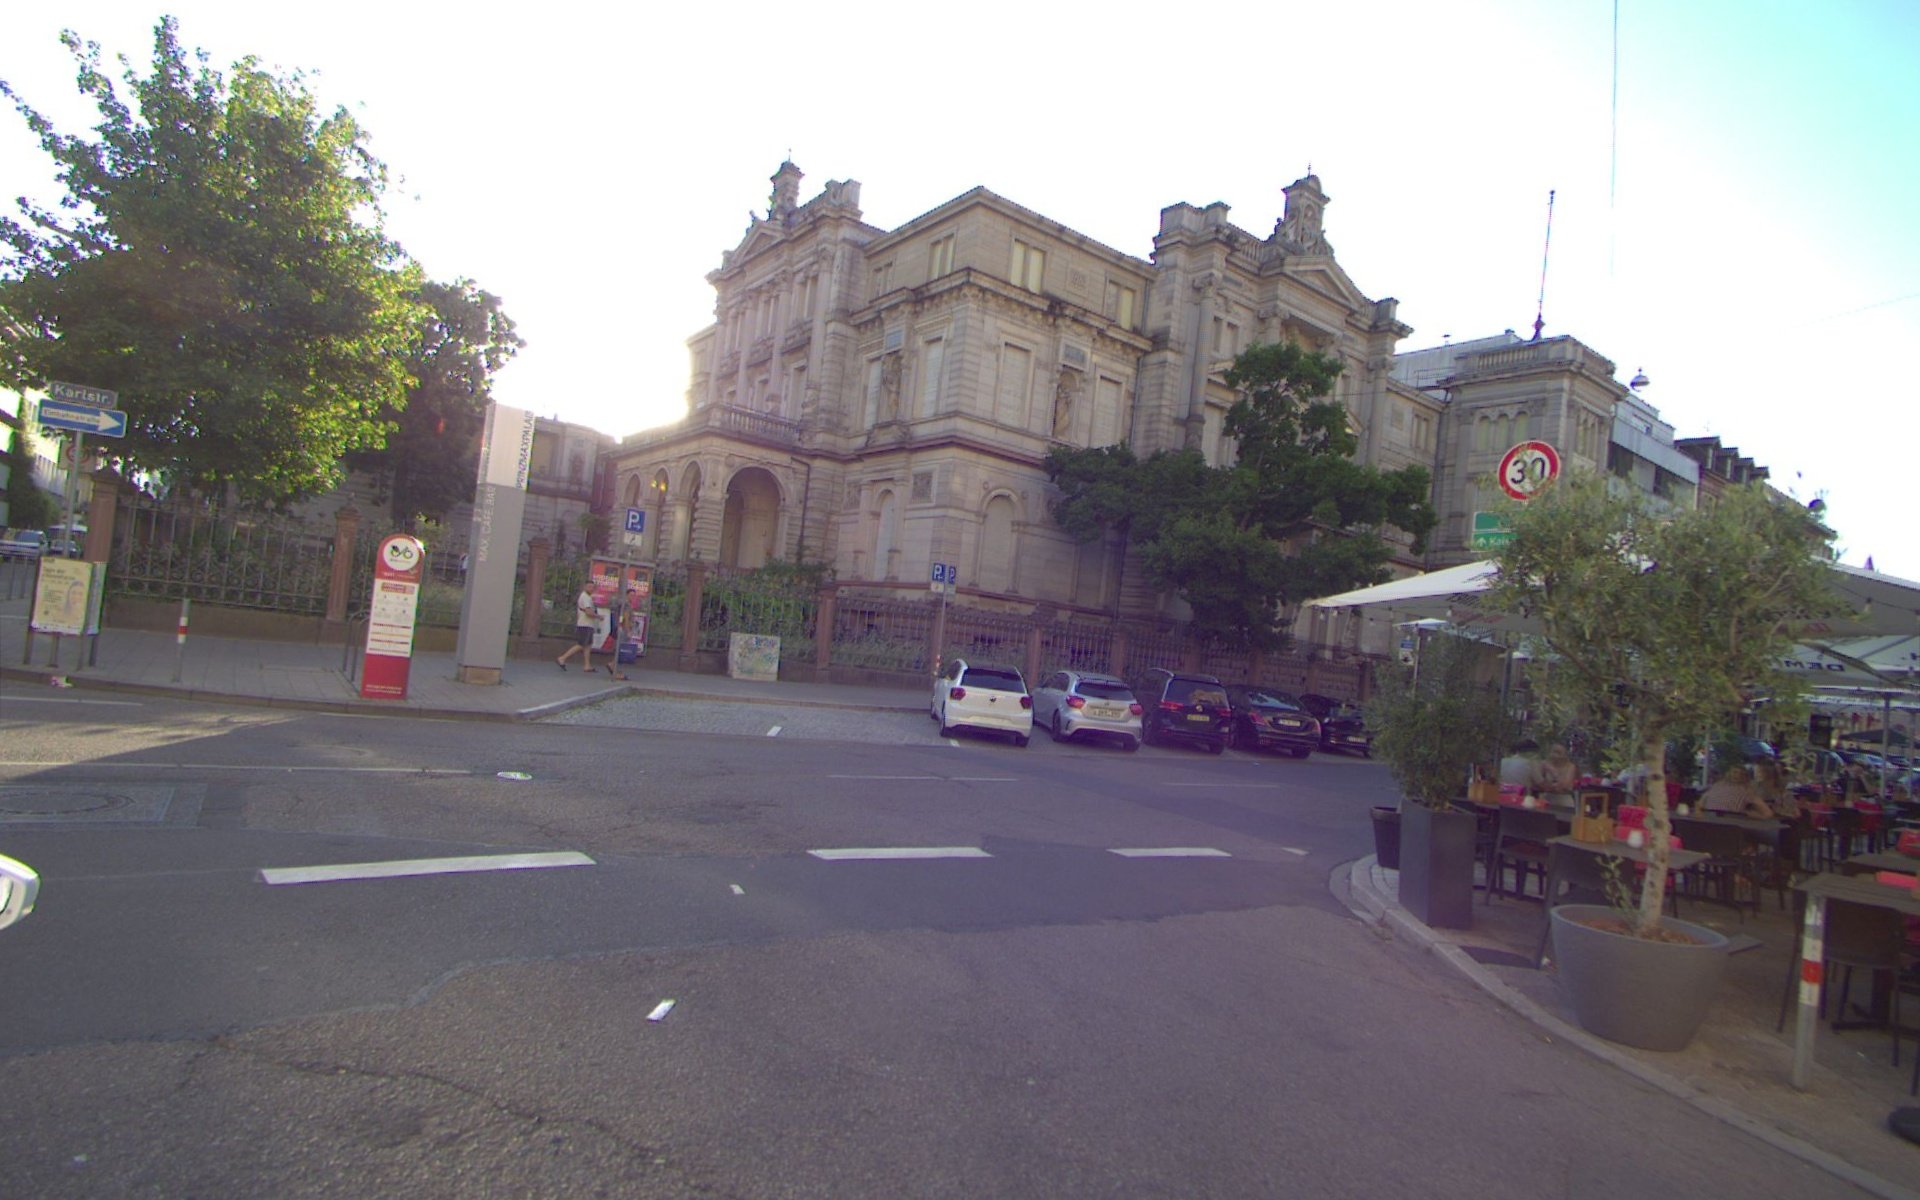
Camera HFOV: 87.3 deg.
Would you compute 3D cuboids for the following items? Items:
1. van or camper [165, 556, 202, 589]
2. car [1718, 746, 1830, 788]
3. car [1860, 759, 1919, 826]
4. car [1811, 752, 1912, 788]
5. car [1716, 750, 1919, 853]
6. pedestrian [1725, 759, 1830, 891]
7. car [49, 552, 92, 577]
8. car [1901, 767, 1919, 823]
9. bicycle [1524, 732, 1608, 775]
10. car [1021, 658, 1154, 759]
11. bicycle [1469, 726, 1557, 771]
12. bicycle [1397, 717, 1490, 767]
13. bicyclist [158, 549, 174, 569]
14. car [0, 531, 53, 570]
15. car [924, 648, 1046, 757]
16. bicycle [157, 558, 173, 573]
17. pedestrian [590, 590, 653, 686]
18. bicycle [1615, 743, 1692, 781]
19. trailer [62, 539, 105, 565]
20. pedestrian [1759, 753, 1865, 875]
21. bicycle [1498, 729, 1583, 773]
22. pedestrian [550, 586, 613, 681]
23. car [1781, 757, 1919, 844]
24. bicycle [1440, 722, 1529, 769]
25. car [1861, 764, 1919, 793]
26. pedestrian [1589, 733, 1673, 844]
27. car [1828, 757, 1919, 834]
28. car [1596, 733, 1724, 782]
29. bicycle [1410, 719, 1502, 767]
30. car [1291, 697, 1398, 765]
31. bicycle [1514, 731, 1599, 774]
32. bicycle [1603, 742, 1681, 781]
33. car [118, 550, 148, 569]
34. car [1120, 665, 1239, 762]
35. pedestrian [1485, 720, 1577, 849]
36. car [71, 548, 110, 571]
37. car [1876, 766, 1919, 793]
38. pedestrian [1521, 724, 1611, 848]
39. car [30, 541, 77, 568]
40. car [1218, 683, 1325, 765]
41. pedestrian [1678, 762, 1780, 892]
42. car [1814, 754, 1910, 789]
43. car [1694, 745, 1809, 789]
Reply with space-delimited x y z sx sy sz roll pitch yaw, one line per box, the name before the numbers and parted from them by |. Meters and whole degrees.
van or camper | -68.591 -2.388 88.888 2.242 2.640 5.067 3 -1 -35
car | 40.727 8.352 50.401 1.740 1.428 3.966 9 -4 -35
car | 24.340 4.808 23.781 4.106 1.428 1.757 5 -3 22
car | 52.333 9.830 58.469 1.729 1.428 3.990 8 -4 -17
car | 17.136 3.880 19.122 3.994 1.428 1.757 5 -3 22
pedestrian | 8.706 2.385 10.717 0.679 1.259 0.596 8 -2 -32
car | -63.998 -2.534 72.432 1.874 1.469 3.962 9 -3 -37
car | 27.022 5.310 25.656 3.957 1.428 1.757 5 -3 22
bicycle | 20.651 5.225 34.322 0.711 1.102 2.278 9 -4 -39
car | 2.631 2.253 21.702 1.725 1.544 3.995 7 0 -7
bicycle | 17.618 4.718 32.087 0.711 1.102 2.278 9 -4 -39
bicycle | 13.955 4.087 29.103 0.711 1.102 2.278 9 -4 -39
bicyclist | -81.087 -4.185 102.761 0.984 1.889 0.702 8 -3 -34
car | -54.220 -2.836 58.264 1.874 1.933 4.702 8 -3 -37
car | 0.380 1.954 20.103 1.725 1.465 3.902 7 1 -7
bicycle | -81.152 -3.523 102.740 0.970 1.294 2.730 8 -4 -35
pedestrian | -6.362 0.711 18.914 0.633 1.689 0.703 7 -1 41
bicycle | 26.528 6.200 38.514 0.711 1.102 2.278 9 -4 -39
trailer | -66.061 -3.576 75.862 1.984 1.574 3.963 9 -4 -37
pedestrian | 9.872 2.469 11.662 0.677 1.259 0.598 8 -2 -21
bicycle | 19.101 4.964 33.150 0.711 1.102 2.278 9 -4 -39
pedestrian | -7.261 0.646 19.308 0.633 1.689 0.703 7 -1 41
car | 19.745 4.258 20.652 4.031 1.428 1.757 5 -3 22
bicycle | 16.093 4.460 30.922 0.711 1.102 2.278 9 -4 -39
car | 62.471 11.885 66.545 1.740 1.428 3.966 9 -4 -35
pedestrian | 8.569 2.391 12.875 0.589 1.259 0.687 7 -2 14
car | 21.924 4.482 21.998 3.994 1.428 1.757 5 -3 22
car | 29.011 6.518 41.796 1.740 1.428 3.966 9 -4 -35
bicycle | 14.585 4.197 29.634 0.711 1.102 2.278 9 -4 -39
car | 10.301 3.481 27.235 1.722 1.428 4.008 6 -4 8
bicycle | 20.006 5.113 33.778 0.711 1.102 2.278 9 -4 -39
bicycle | 25.705 6.064 37.934 0.711 1.102 2.278 9 -4 -39
car | -87.653 -4.264 106.686 1.983 1.702 3.965 9 -4 -35
car | 4.978 2.541 23.339 1.723 1.741 4.002 7 -2 0
pedestrian | 6.214 1.987 10.980 0.589 1.259 0.687 7 -2 14
car | -68.397 -3.176 79.185 1.874 1.469 3.962 9 -3 -37
car | 64.736 12.274 67.899 1.740 1.428 3.966 9 -4 -35
pedestrian | 6.923 2.107 11.520 0.589 1.259 0.687 7 -2 14
car | -60.808 -3.032 67.545 1.874 1.469 3.962 9 -3 -37
car | 7.484 2.934 24.503 1.722 1.625 4.008 6 -3 8
pedestrian | 7.940 2.332 10.395 0.568 1.202 0.596 8 -2 -32
car | 54.221 10.308 60.514 1.740 1.428 3.966 9 -4 -35
car | 38.056 8.004 48.425 1.740 1.428 3.966 9 -4 -35
